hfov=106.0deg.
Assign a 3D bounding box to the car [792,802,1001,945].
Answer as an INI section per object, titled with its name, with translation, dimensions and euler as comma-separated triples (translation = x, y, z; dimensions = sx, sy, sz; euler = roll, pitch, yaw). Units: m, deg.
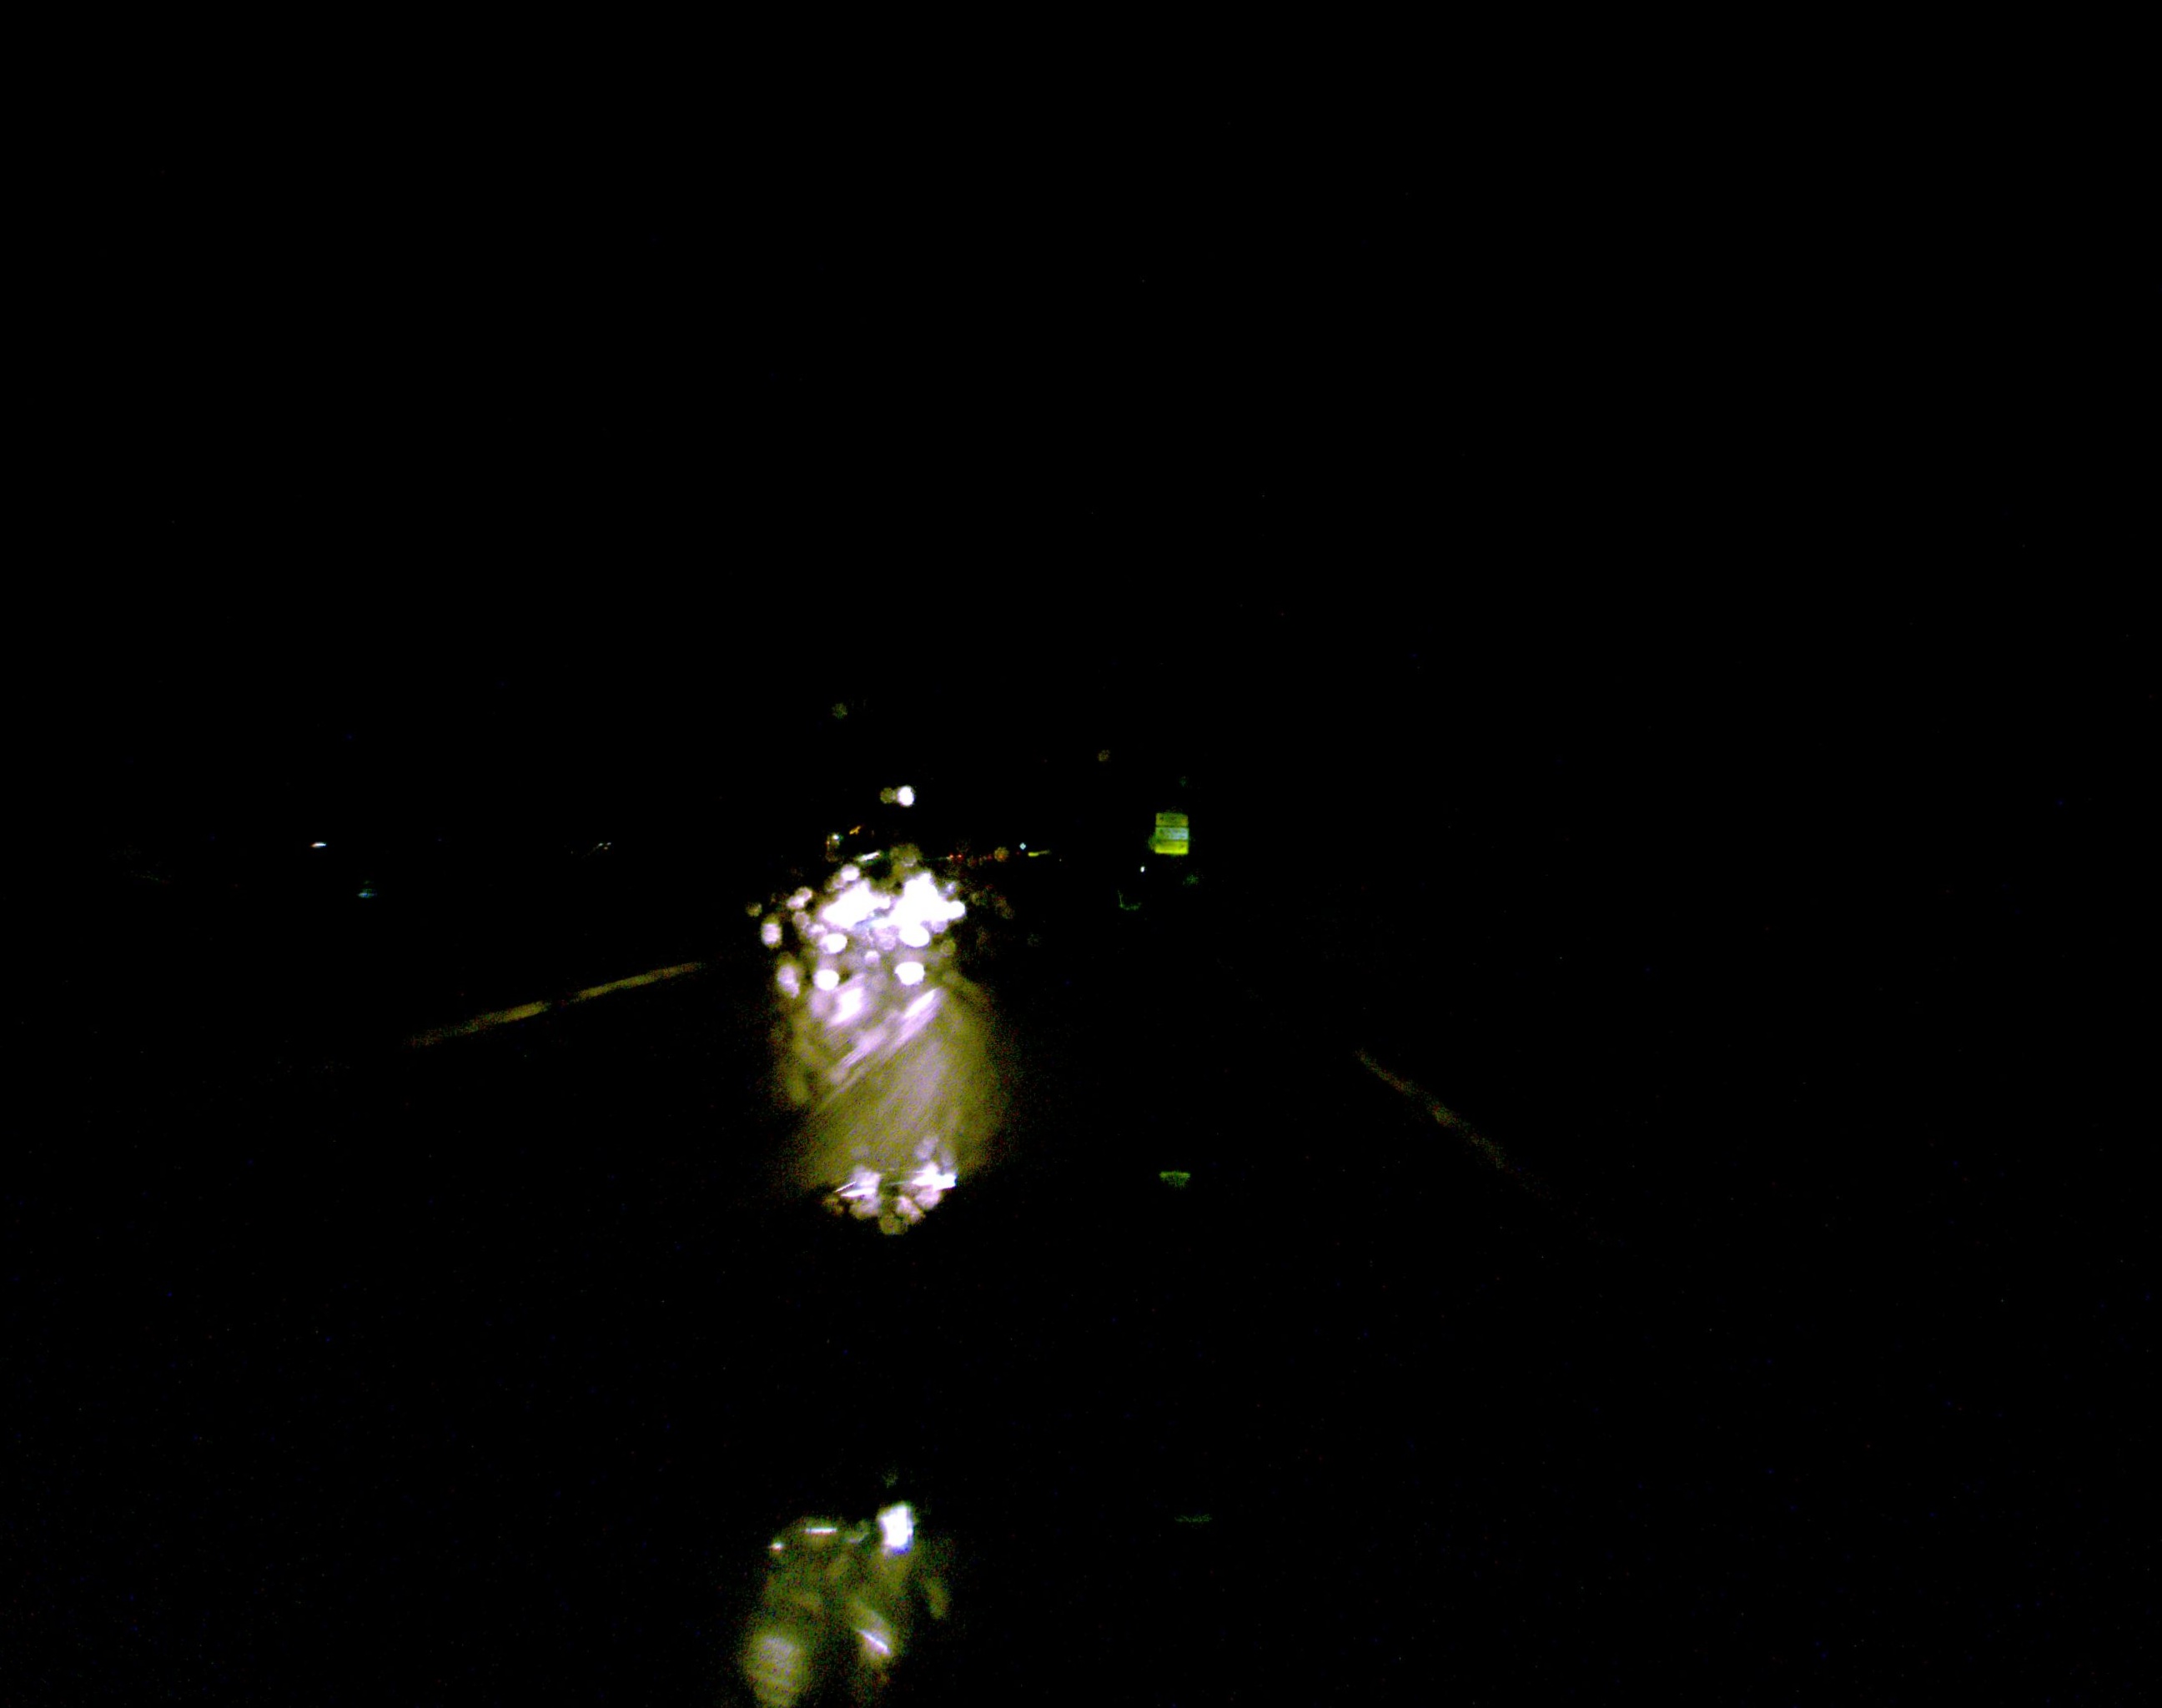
[car]
translation = -3.381, 0.378, 16.699
dimensions = 2.743, 2.269, 6.260
euler = -3, -1, 0
